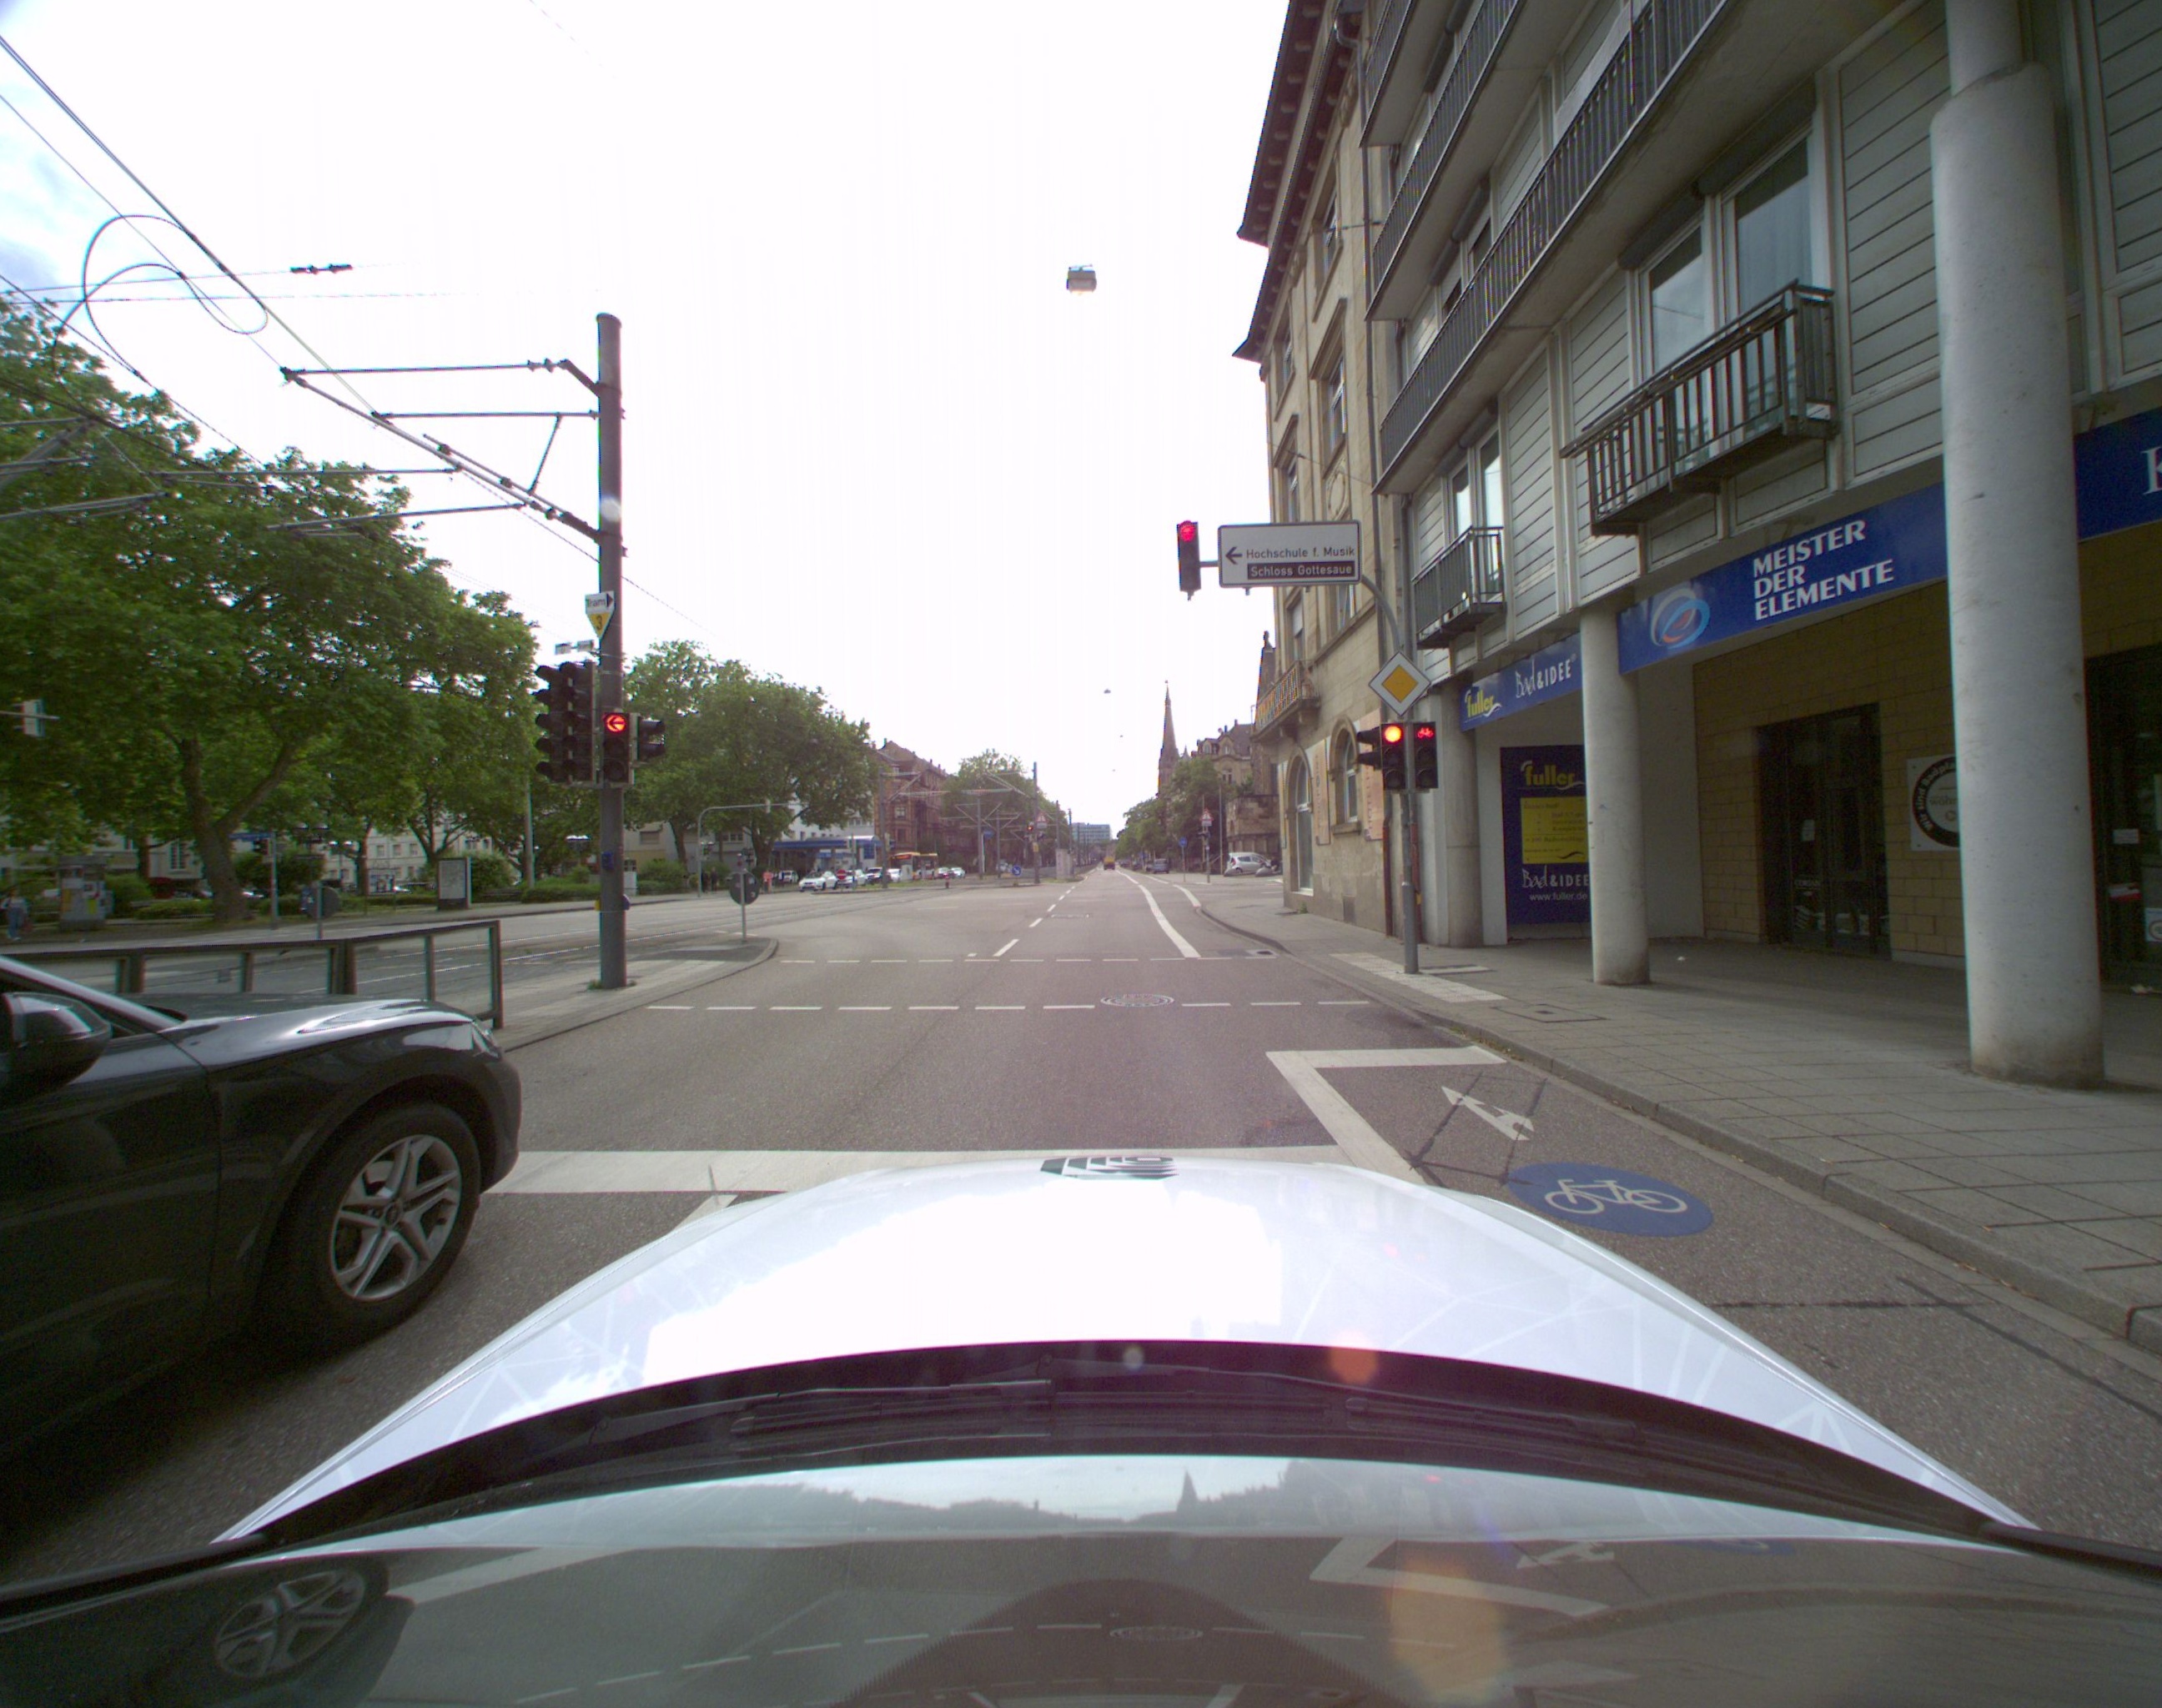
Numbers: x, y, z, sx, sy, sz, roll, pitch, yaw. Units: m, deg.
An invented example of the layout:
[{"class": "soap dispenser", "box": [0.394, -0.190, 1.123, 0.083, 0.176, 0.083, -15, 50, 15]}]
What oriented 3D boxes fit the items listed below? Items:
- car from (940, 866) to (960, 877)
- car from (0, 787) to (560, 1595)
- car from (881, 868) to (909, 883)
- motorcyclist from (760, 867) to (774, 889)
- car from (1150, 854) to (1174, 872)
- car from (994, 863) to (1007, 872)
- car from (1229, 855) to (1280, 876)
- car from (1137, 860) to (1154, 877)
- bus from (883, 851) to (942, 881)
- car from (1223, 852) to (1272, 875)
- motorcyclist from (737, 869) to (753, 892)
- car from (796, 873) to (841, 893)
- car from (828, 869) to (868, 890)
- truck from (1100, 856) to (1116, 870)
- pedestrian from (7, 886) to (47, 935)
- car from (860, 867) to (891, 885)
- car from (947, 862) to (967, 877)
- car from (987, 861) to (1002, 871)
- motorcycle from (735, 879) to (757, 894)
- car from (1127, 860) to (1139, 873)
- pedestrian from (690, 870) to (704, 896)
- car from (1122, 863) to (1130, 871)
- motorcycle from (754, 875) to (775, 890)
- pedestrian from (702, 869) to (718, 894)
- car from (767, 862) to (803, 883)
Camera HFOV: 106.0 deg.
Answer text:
[{"class": "car", "box": [-16.503, 2.191, 102.814, 1.649, 1.321, 3.641, 0, -1, 3]}, {"class": "car", "box": [-3.071, 0.684, 1.238, 1.727, 1.637, 4.228, 0, -1, 2]}, {"class": "car", "box": [-18.162, 2.101, 79.649, 1.649, 1.321, 3.641, 0, -1, 3]}, {"class": "motorcyclist", "box": [-21.607, 1.653, 56.058, 0.617, 1.520, 0.874, -1, -1, 2]}, {"class": "car", "box": [8.970, 0.991, 89.960, 1.979, 1.855, 4.042, -1, -1, 14]}, {"class": "car", "box": [-14.797, 2.447, 149.909, 1.986, 1.610, 4.001, 0, -1, 2]}, {"class": "car", "box": [13.744, 0.909, 64.735, 3.699, 1.563, 2.001, 0, -1, 2]}, {"class": "car", "box": [7.886, 1.701, 99.594, 1.985, 2.014, 4.004, 0, -1, 4]}, {"class": "bus", "box": [-18.303, 1.300, 89.726, 3.217, 3.035, 12.323, 0, 0, 4]}, {"class": "car", "box": [13.923, 0.793, 68.247, 3.699, 1.855, 2.001, 0, -1, 2]}, {"class": "motorcyclist", "box": [-22.690, 1.807, 54.998, 0.617, 1.520, 0.874, -1, -1, 2]}, {"class": "car", "box": [-19.168, 2.076, 59.554, 1.739, 1.321, 4.079, 0, 0, 3]}, {"class": "car", "box": [-18.847, 2.056, 66.084, 1.986, 1.594, 4.001, 0, -1, 2]}, {"class": "truck", "box": [5.775, 1.791, 171.522, 3.042, 2.769, 9.824, -2, 0, 4]}, {"class": "pedestrian", "box": [-34.083, 1.811, 26.335, 0.674, 1.510, 0.661, -2, -1, 28]}, {"class": "car", "box": [-18.333, 1.929, 72.728, 1.649, 1.478, 3.641, 0, -1, 3]}, {"class": "car", "box": [-16.753, 2.062, 110.197, 1.986, 2.014, 4.001, 0, -1, 2]}, {"class": "car", "box": [-15.057, 2.065, 142.100, 1.986, 1.610, 4.001, 0, -1, 2]}, {"class": "motorcycle", "box": [-22.675, 2.178, 55.167, 0.604, 0.928, 1.953, -2, -1, 2]}, {"class": "car", "box": [8.684, 2.057, 135.988, 1.986, 2.014, 4.001, 0, -1, 2]}, {"class": "pedestrian", "box": [-26.173, 1.985, 55.540, 0.690, 1.713, 0.865, -1, -1, -17]}, {"class": "car", "box": [11.907, 3.378, 216.796, 1.986, 2.014, 4.001, 0, -1, 2]}, {"class": "motorcycle", "box": [-21.647, 1.957, 55.723, 0.604, 0.928, 1.953, -2, -1, 2]}, {"class": "pedestrian", "box": [-25.439, 1.882, 55.860, 0.875, 1.713, 0.869, -1, -1, -18]}, {"class": "car", "box": [-29.799, 1.823, 82.121, 1.986, 2.014, 4.001, -2, 0, 2]}]
